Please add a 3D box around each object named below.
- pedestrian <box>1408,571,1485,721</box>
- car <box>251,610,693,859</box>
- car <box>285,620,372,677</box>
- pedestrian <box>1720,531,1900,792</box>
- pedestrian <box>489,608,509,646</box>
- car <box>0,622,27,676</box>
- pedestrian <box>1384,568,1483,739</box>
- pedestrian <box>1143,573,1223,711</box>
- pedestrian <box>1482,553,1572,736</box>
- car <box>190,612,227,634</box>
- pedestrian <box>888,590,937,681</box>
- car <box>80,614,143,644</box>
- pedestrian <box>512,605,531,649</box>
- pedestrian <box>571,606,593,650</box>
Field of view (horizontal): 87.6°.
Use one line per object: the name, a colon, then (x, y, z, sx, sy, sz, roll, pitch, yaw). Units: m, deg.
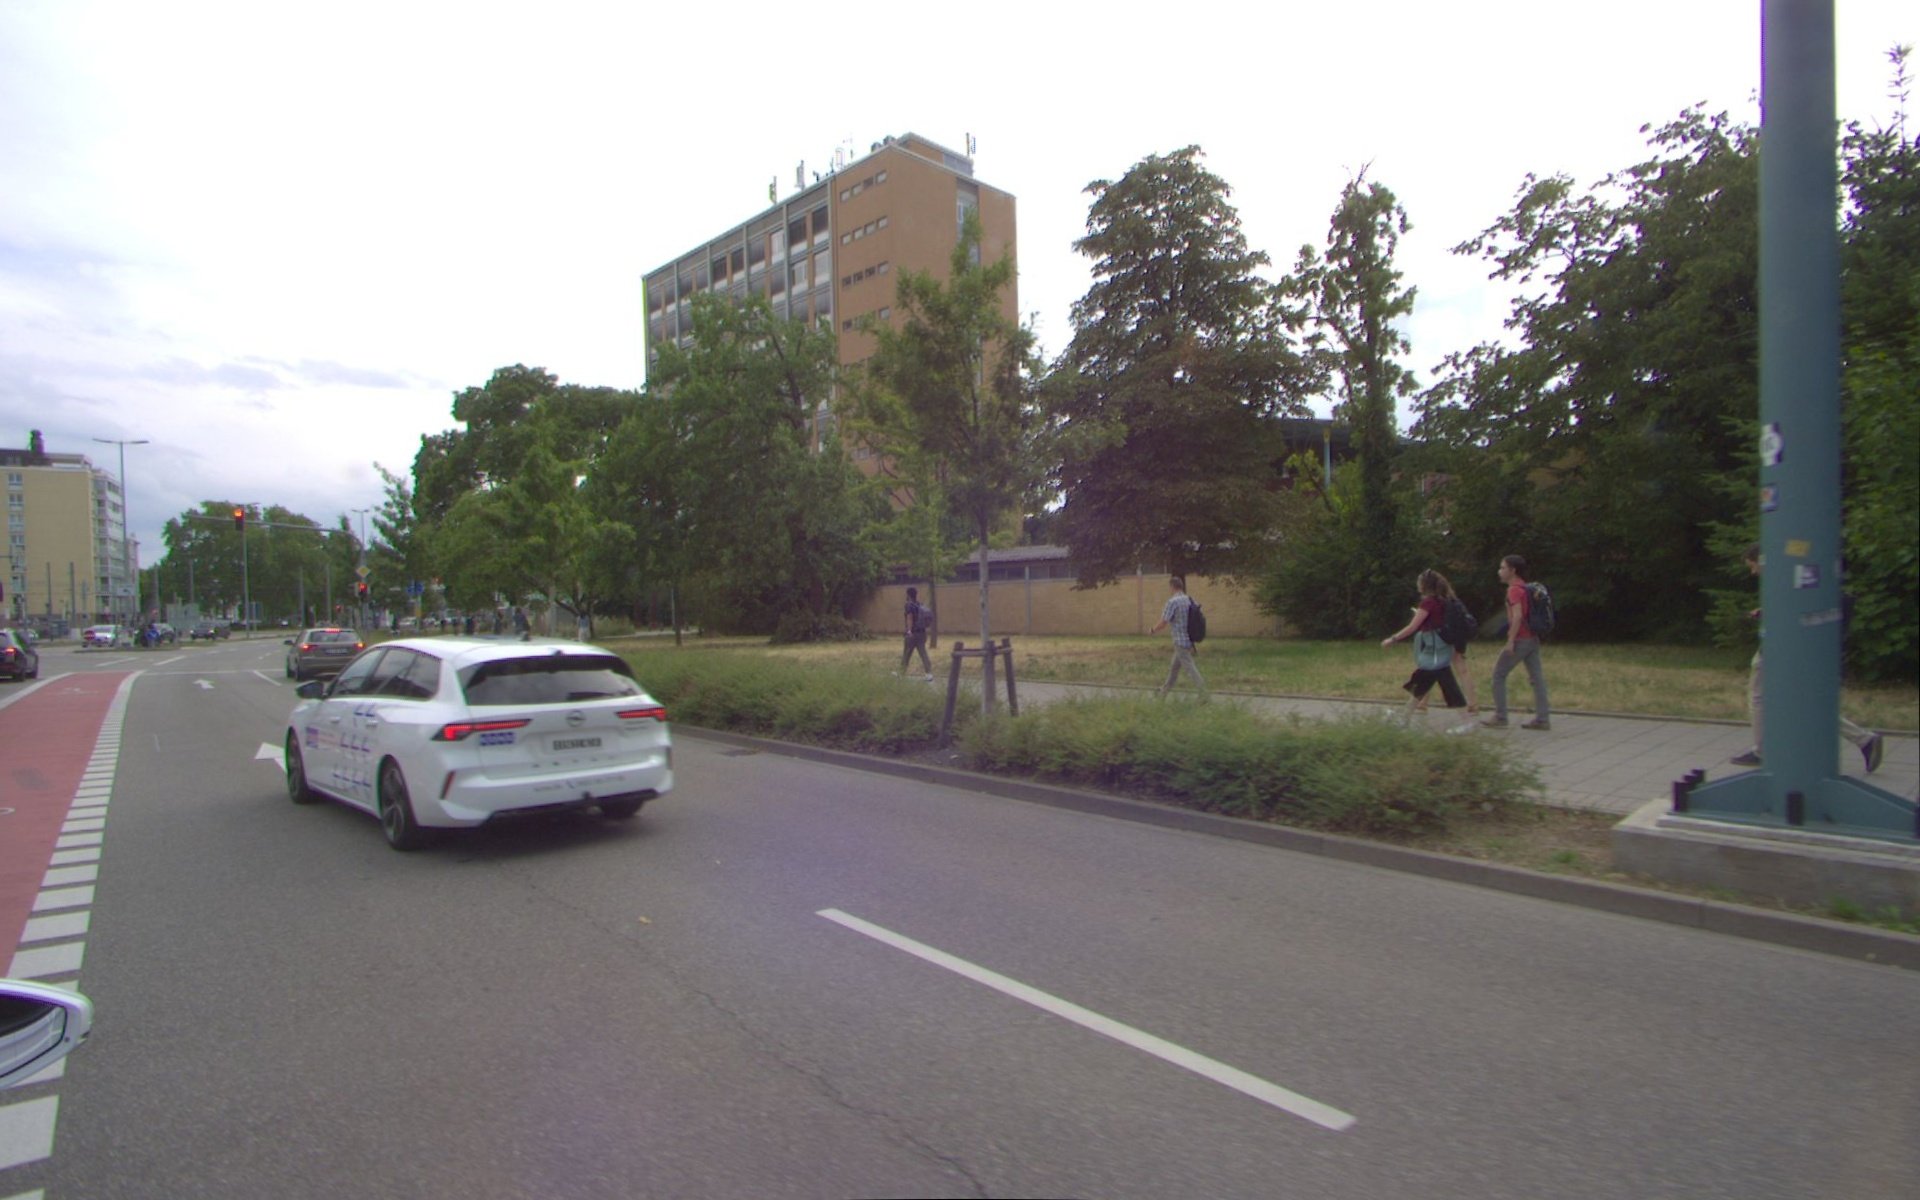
pedestrian: (5.585, 0.512, 11.503, 0.464, 1.655, 0.647, -2, 1, -39)
car: (-4.235, 0.842, 8.243, 4.732, 1.458, 1.730, -1, 0, 44)
car: (-18.218, 1.337, 28.832, 1.709, 1.476, 3.706, -1, 0, -38)
pedestrian: (6.476, 0.436, 7.640, 0.687, 1.845, 0.946, -2, 1, -39)
pedestrian: (-21.329, 1.230, 46.354, 0.792, 1.736, 0.761, -2, 1, -27)
car: (-27.210, 1.346, 27.940, 1.643, 1.415, 3.824, -1, 0, -42)
pedestrian: (4.860, 0.529, 10.286, 0.551, 1.677, 0.747, -2, 1, -39)
pedestrian: (2.943, 0.532, 13.245, 0.614, 1.758, 0.808, -2, 1, -39)
pedestrian: (5.748, 0.434, 10.164, 0.480, 1.787, 0.658, -2, 1, -39)
car: (-73.684, 2.210, 98.223, 1.967, 2.040, 3.986, -1, 0, -24)
pedestrian: (-0.906, 0.663, 19.086, 0.582, 1.705, 0.742, -2, 1, -40)
car: (-64.844, 2.170, 76.636, 2.554, 2.137, 5.572, -1, 0, -29)
pedestrian: (-17.457, 1.059, 39.831, 0.638, 1.736, 0.559, -2, 1, -25)
pedestrian: (-13.091, 0.963, 34.654, 0.648, 1.490, 0.560, -1, 1, -23)
